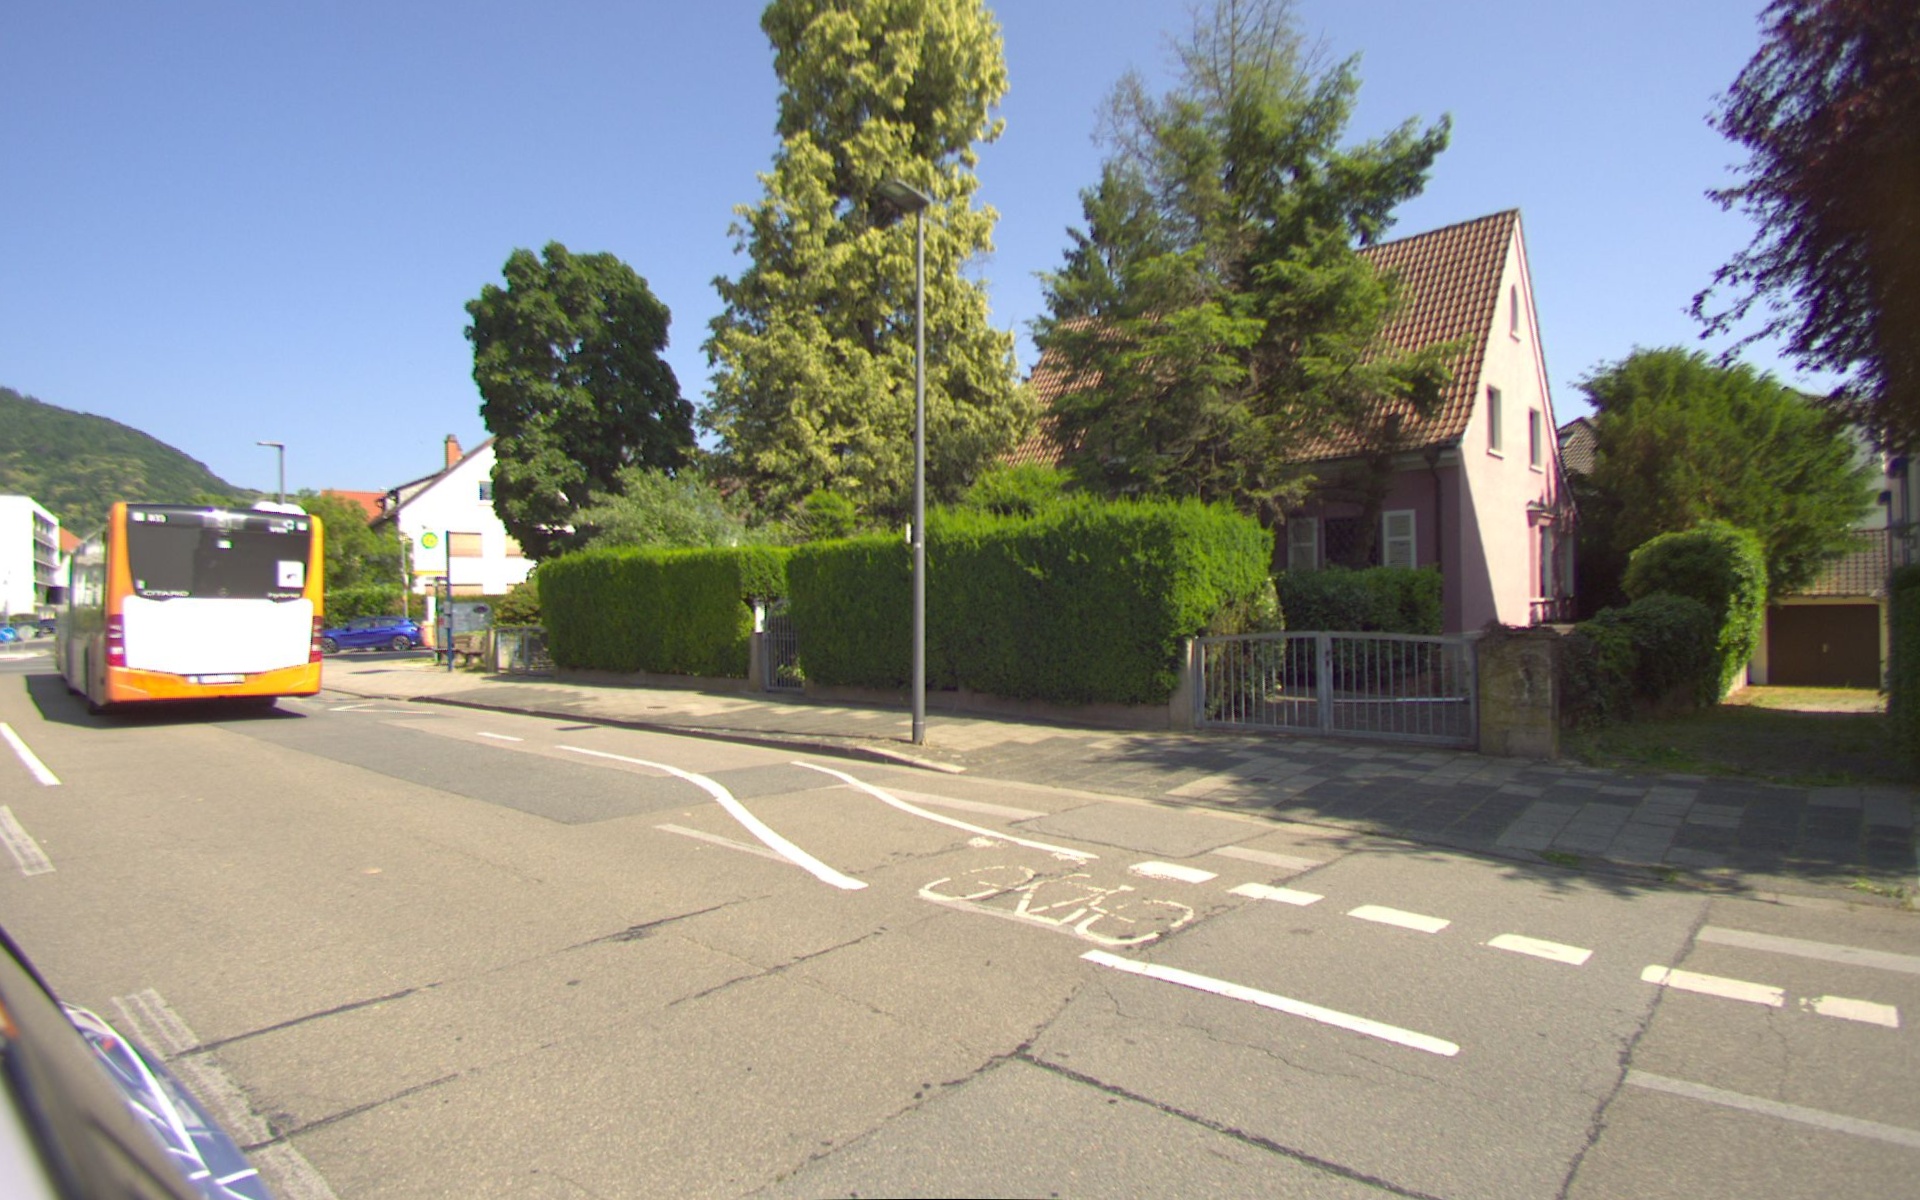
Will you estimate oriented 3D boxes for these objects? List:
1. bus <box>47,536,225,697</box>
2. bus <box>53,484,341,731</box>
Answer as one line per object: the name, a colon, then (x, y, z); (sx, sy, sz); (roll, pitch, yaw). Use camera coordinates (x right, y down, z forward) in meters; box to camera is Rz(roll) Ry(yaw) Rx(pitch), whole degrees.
bus: (-20.332, 0.466, 24.689); (2.712, 3.198, 9.788); (2, -3, -43)
bus: (-13.598, 0.233, 17.566); (2.713, 3.198, 9.784); (2, -3, -44)
